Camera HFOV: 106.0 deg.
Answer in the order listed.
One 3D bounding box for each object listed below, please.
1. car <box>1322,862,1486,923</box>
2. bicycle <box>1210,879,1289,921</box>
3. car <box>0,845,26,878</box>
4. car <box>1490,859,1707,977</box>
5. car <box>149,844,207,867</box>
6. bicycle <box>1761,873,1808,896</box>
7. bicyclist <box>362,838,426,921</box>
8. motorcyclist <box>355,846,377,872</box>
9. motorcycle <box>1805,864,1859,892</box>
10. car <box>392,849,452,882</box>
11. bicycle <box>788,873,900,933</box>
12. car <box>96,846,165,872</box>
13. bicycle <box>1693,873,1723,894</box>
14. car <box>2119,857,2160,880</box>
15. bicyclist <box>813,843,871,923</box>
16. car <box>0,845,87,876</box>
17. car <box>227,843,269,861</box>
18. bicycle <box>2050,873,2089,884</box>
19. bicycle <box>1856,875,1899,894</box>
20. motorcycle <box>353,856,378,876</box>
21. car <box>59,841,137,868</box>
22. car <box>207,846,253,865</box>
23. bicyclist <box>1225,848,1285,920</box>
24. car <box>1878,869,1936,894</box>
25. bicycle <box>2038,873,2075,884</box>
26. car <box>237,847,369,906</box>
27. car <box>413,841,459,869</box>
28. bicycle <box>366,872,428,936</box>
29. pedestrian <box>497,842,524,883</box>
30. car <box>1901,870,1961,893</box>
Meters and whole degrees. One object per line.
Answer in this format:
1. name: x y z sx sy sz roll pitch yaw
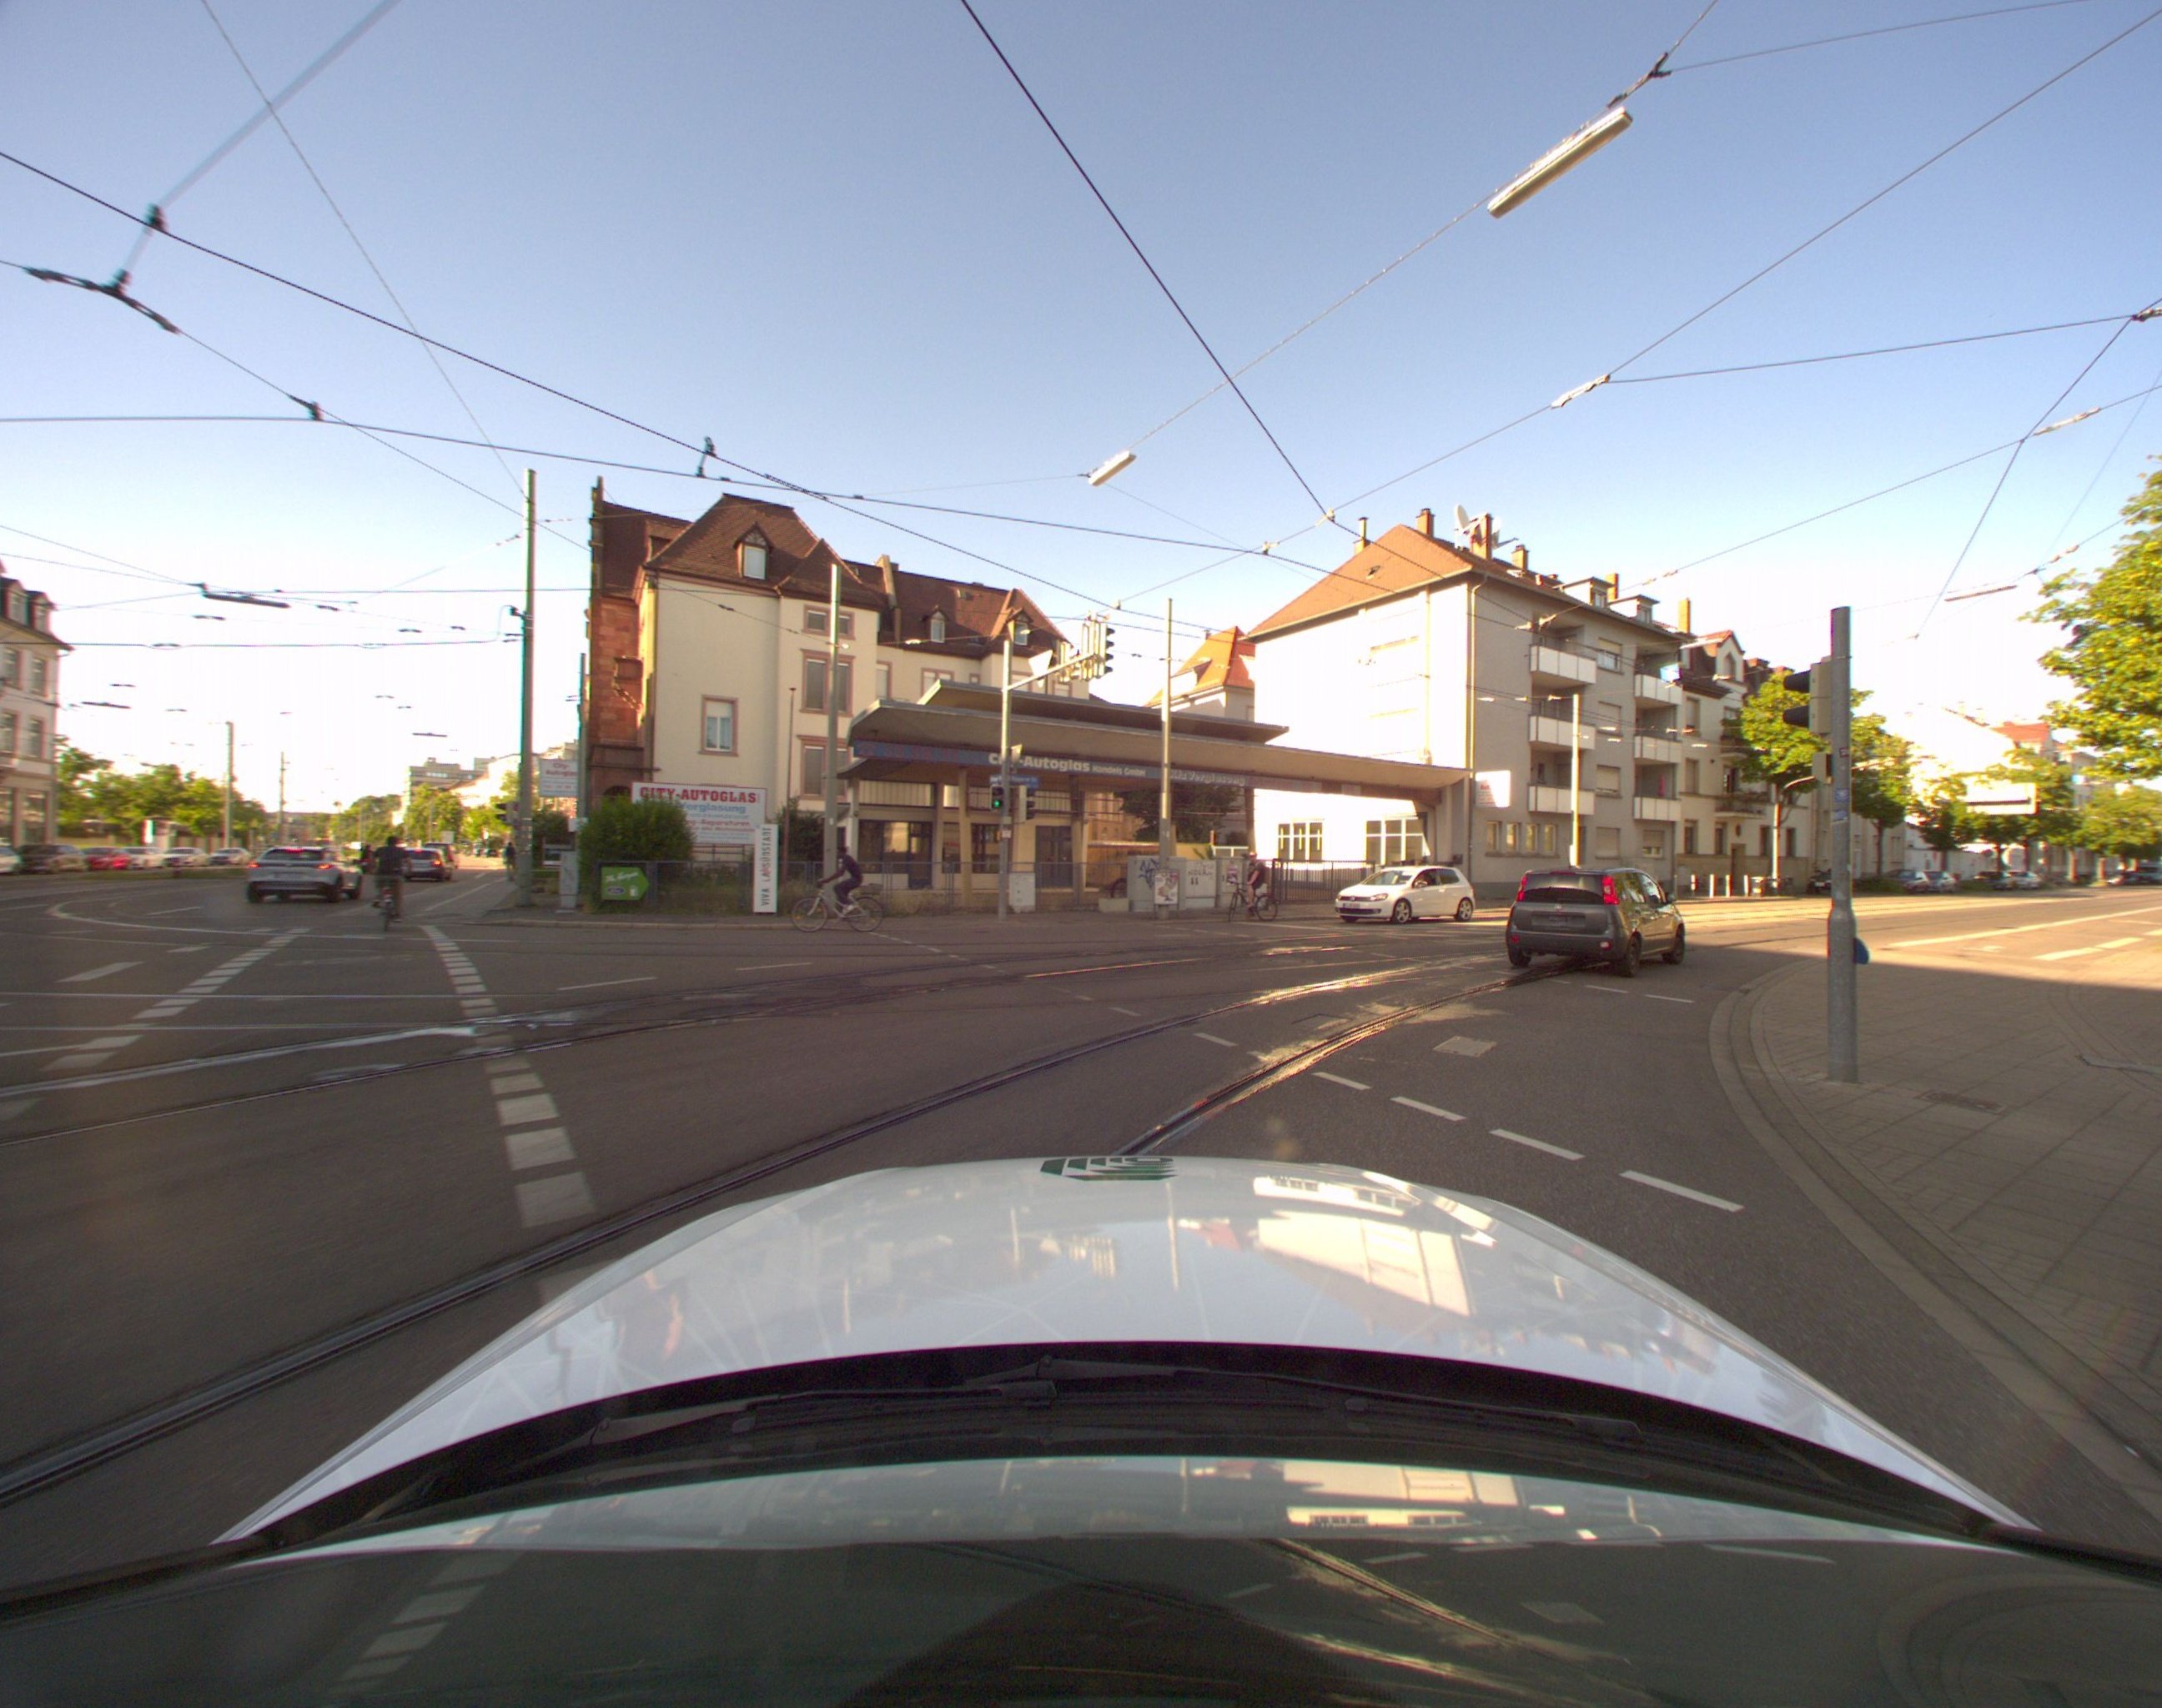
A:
1. car: 8.407 0.953 21.134 4.203 1.458 1.779 1 -2 -31
2. bicycle: 4.355 1.159 21.009 2.054 1.017 0.720 1 -1 -31
3. car: -52.484 0.343 38.598 1.731 1.552 3.960 1 0 -32
4. car: 8.026 0.867 12.490 4.021 1.500 1.716 2 -1 -41
5. car: -65.091 0.099 58.790 1.730 1.552 3.960 1 -1 -32
6. bicycle: 34.763 1.506 40.262 1.690 1.033 0.447 2 0 38
7. bicyclist: -13.013 0.469 15.445 0.840 1.525 0.983 2 -1 -37
8. motorcyclist: -40.044 0.260 45.619 0.783 1.423 0.882 1 0 -34
9. motorcycle: 40.628 1.291 44.044 3.113 1.481 1.448 1 -1 -33
10. car: -32.437 0.545 40.194 1.826 1.582 3.959 1 0 -32
11. bicycle: -4.738 0.959 16.284 2.065 1.125 0.890 1 -1 -20
12. car: -60.556 0.312 51.975 1.731 1.552 3.960 1 0 -32
13. bicycle: 31.556 1.462 40.991 2.026 1.007 0.503 1 -1 -32
14. car: 119.210 1.651 91.699 5.690 2.569 2.318 1 -1 -32
15. bicyclist: -4.780 0.561 16.271 1.051 1.526 0.873 1 0 -20
16. car: -54.870 0.331 43.033 1.731 1.552 3.960 1 0 -32
17. car: -74.330 -0.180 72.710 1.731 1.552 3.960 1 0 -32
18. bicycle: 88.902 2.210 73.245 0.784 0.930 2.328 1 0 5
19. bicycle: 47.061 1.770 48.117 1.728 1.023 0.613 2 0 39
20. motorcycle: -40.025 0.676 45.571 0.783 1.082 2.257 1 0 -34
21. car: -57.919 0.037 48.086 1.731 1.552 3.960 1 0 -32
22. car: -70.854 0.127 67.865 1.731 1.552 3.960 1 0 -32
23. bicyclist: 4.507 0.759 21.114 1.259 1.787 0.901 1 -1 -36
24. car: 50.631 1.668 49.911 4.015 1.486 1.785 1 -1 -33
25. bicycle: 87.735 2.201 73.260 0.784 0.930 2.269 1 0 5
26. car: -22.192 0.591 23.413 1.961 1.528 4.048 2 0 -33
27. car: -49.012 0.069 61.931 2.187 2.009 4.759 1 0 -32
28. bicycle: -12.904 0.900 15.346 0.777 1.086 1.848 1 -1 -43
29. pedestrian: -25.762 0.399 36.800 0.881 1.824 1.173 1 -1 -31
30. car: 55.061 1.760 52.747 4.203 1.420 1.942 1 -1 -33
